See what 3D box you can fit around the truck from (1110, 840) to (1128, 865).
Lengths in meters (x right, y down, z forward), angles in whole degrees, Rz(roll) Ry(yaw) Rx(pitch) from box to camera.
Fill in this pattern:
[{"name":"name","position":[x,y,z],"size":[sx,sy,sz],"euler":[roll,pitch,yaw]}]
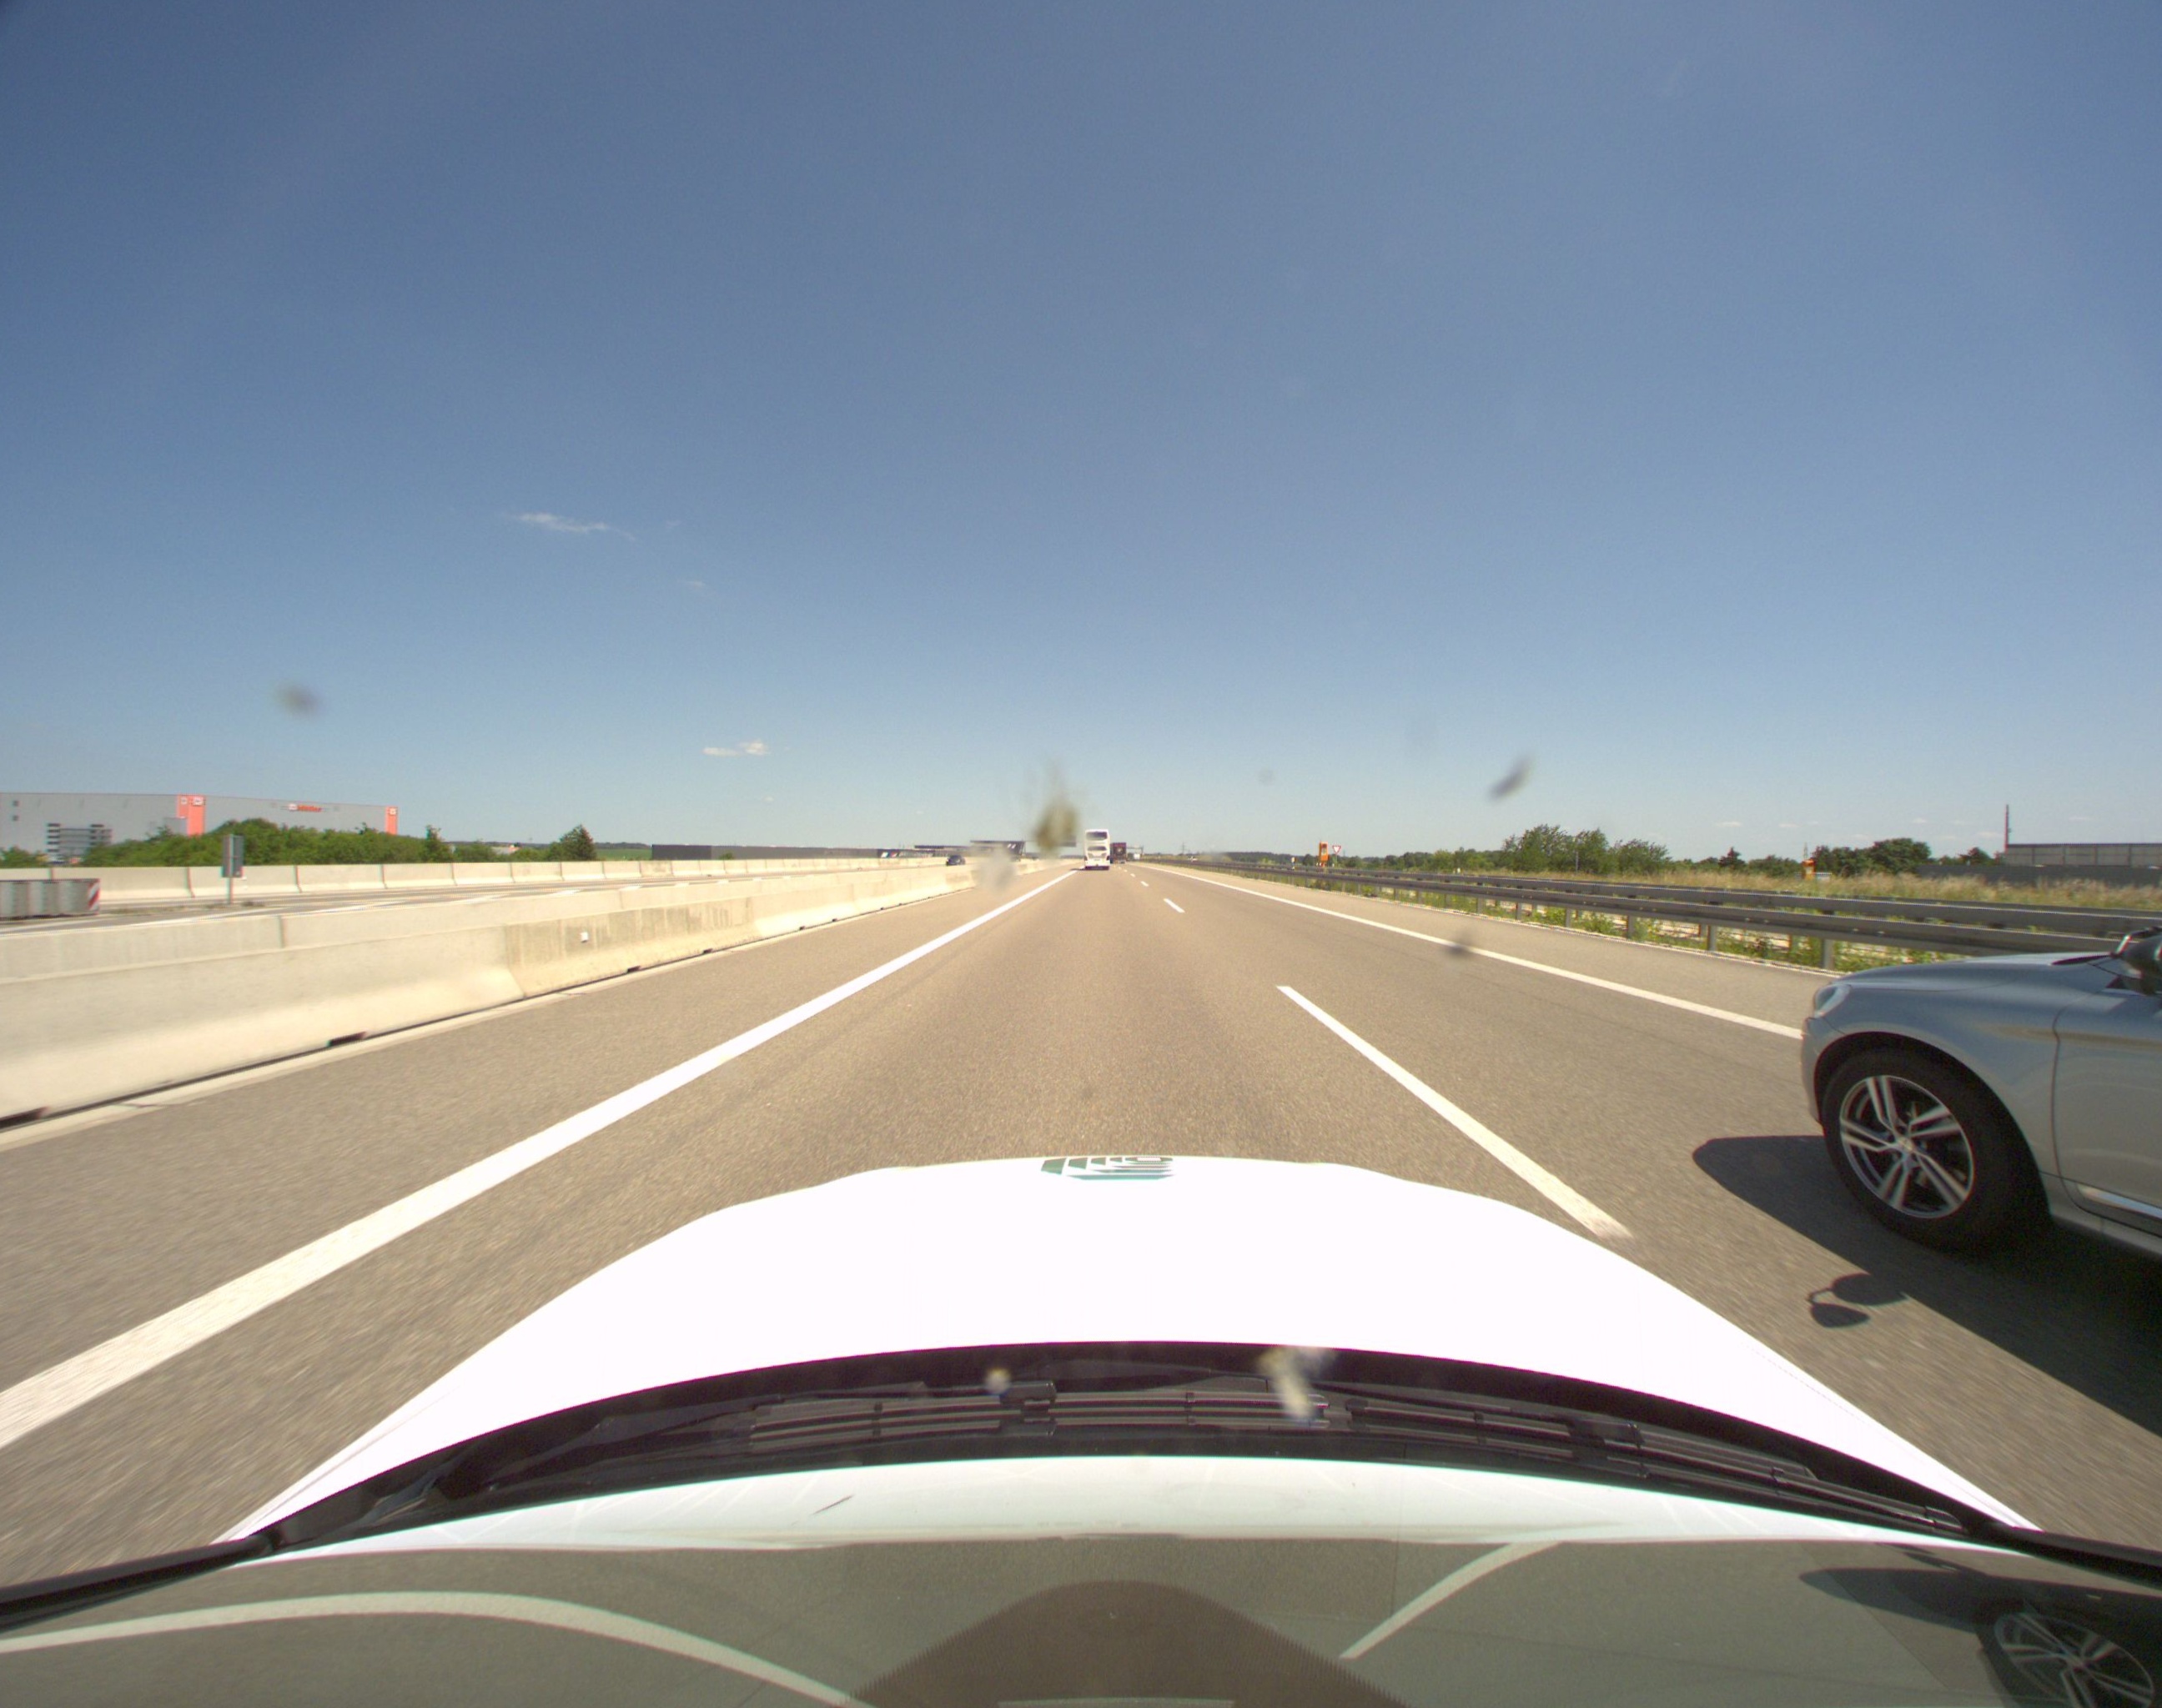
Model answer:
[{"name":"truck","position":[7.593,-0.197,161.640],"size":[3.365,4.464,13.575],"euler":[0,-2,3]}]

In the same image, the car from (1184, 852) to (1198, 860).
[{"name":"car","position":[20.452,0.411,151.627],"size":[1.885,1.529,4.261],"euler":[0,0,0]}]

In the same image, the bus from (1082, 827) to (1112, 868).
[{"name":"bus","position":[1.576,-0.599,83.983],"size":[2.970,3.975,9.104],"euler":[0,0,0]}]

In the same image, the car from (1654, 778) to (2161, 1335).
[{"name":"car","position":[4.074,0.586,2.097],"size":[1.873,1.623,4.906],"euler":[0,0,2]}]

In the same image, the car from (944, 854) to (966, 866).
[{"name":"car","position":[-16.248,0.757,105.144],"size":[1.904,1.420,4.552],"euler":[0,0,2]}]

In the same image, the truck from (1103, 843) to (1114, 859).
[{"name":"truck","position":[6.444,-0.711,193.229],"size":[2.429,3.789,6.493],"euler":[0,0,0]}]

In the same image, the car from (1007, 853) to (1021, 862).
[{"name":"car","position":[-11.494,0.557,139.438],"size":[1.905,1.420,4.909],"euler":[0,0,1]}]
